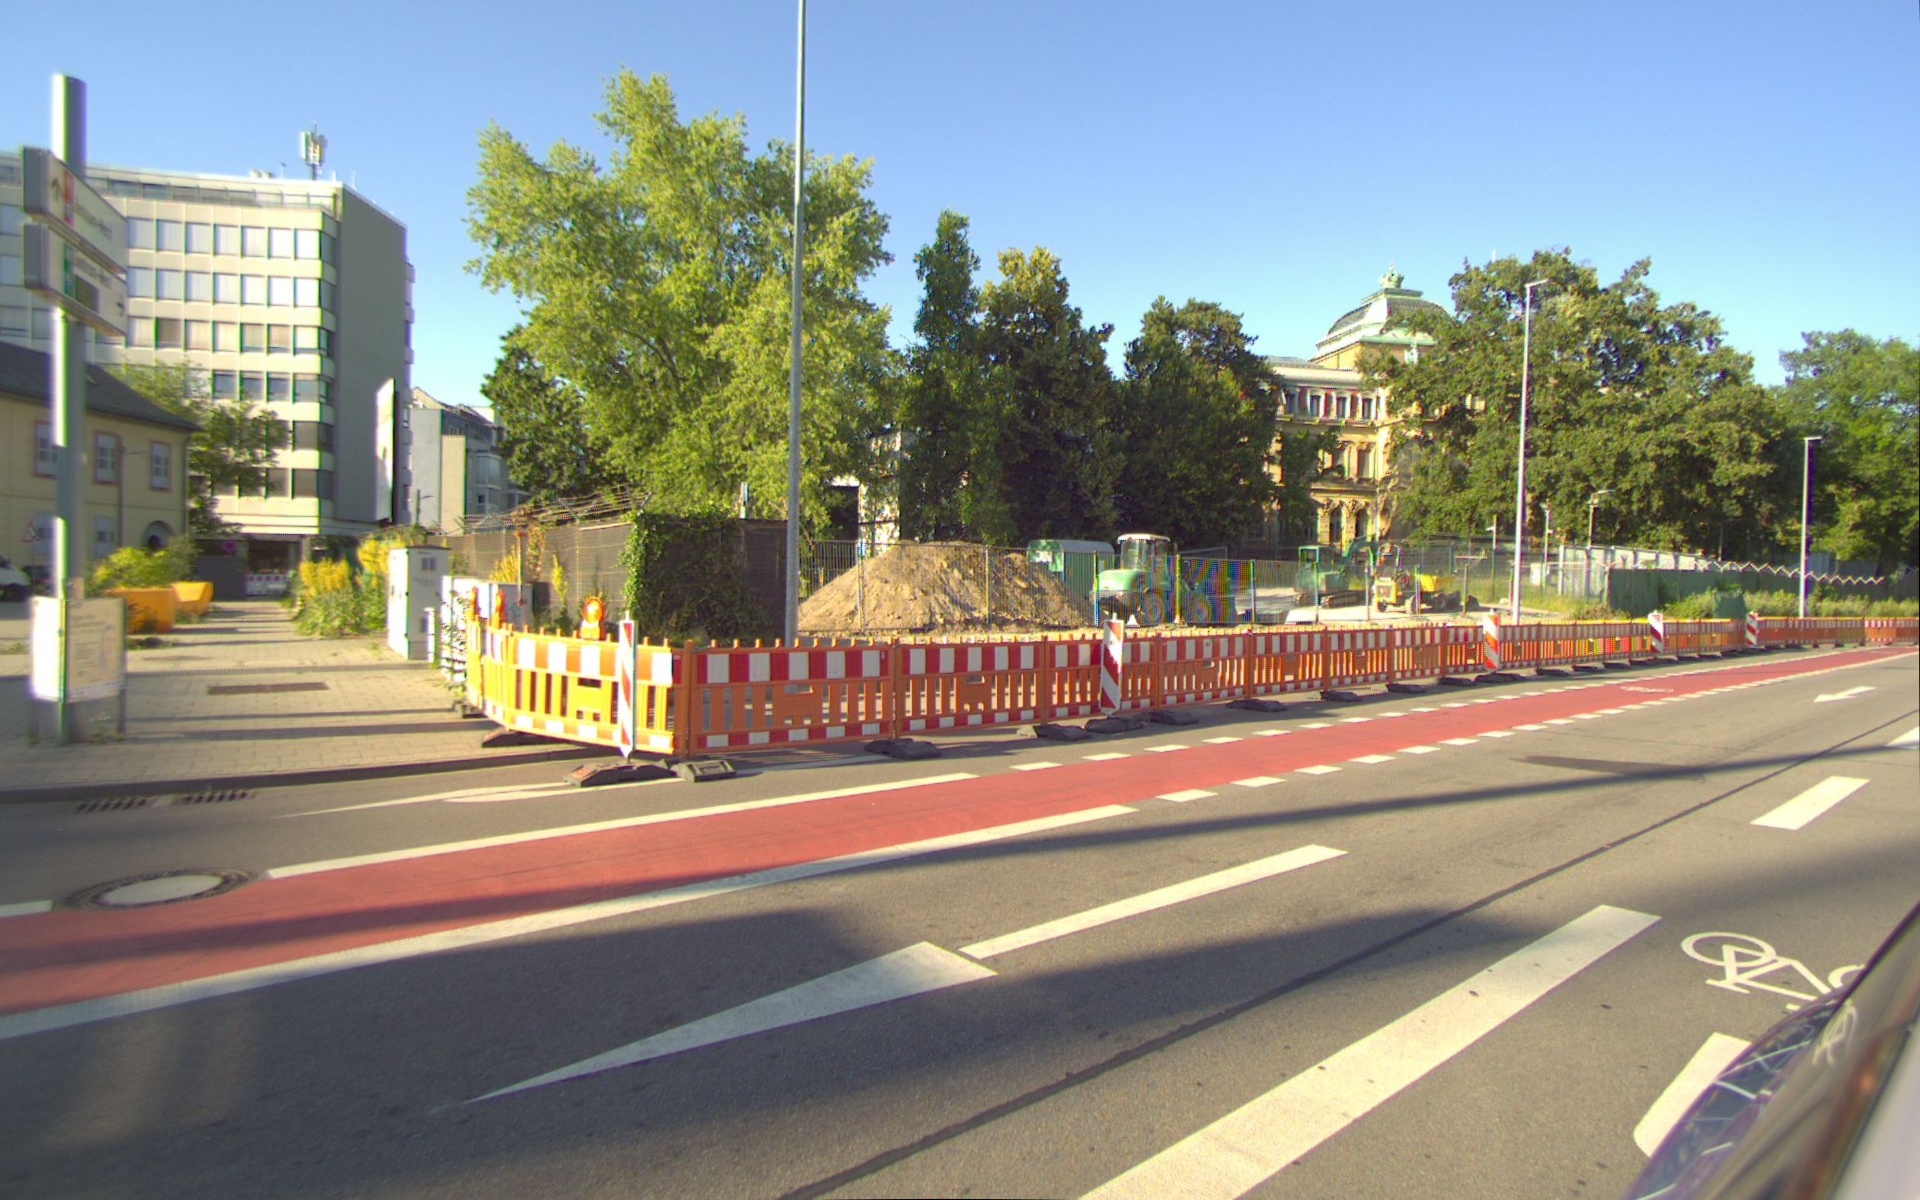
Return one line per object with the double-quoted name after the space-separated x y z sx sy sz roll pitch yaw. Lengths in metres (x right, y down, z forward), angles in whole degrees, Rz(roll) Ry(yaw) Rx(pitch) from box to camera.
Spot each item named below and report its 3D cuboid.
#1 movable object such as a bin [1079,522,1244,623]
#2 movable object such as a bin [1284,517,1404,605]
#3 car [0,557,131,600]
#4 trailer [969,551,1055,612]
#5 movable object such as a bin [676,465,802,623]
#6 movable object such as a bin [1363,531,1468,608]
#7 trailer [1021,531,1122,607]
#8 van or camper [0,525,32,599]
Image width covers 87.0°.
6.040 -0.787 30.049 4.855 2.737 2.280 0 1 -41 "movable object such as a bin"
16.850 -1.634 44.334 5.395 3.602 2.283 0 1 -36 "movable object such as a bin"
-35.918 -0.868 40.676 1.962 1.593 4.001 1 1 0 "car"
2.221 -0.842 43.575 2.189 2.349 2.950 -7 7 -43 "trailer"
-5.903 -1.364 26.564 2.801 3.602 6.095 1 1 -15 "movable object such as a bin"
18.313 -1.206 40.624 3.922 2.940 2.001 1 1 -33 "movable object such as a bin"
5.081 -1.468 45.929 3.923 3.126 2.612 -7 7 -43 "trailer"
-35.512 -1.356 34.849 1.962 2.668 5.607 1 1 0 "van or camper"
